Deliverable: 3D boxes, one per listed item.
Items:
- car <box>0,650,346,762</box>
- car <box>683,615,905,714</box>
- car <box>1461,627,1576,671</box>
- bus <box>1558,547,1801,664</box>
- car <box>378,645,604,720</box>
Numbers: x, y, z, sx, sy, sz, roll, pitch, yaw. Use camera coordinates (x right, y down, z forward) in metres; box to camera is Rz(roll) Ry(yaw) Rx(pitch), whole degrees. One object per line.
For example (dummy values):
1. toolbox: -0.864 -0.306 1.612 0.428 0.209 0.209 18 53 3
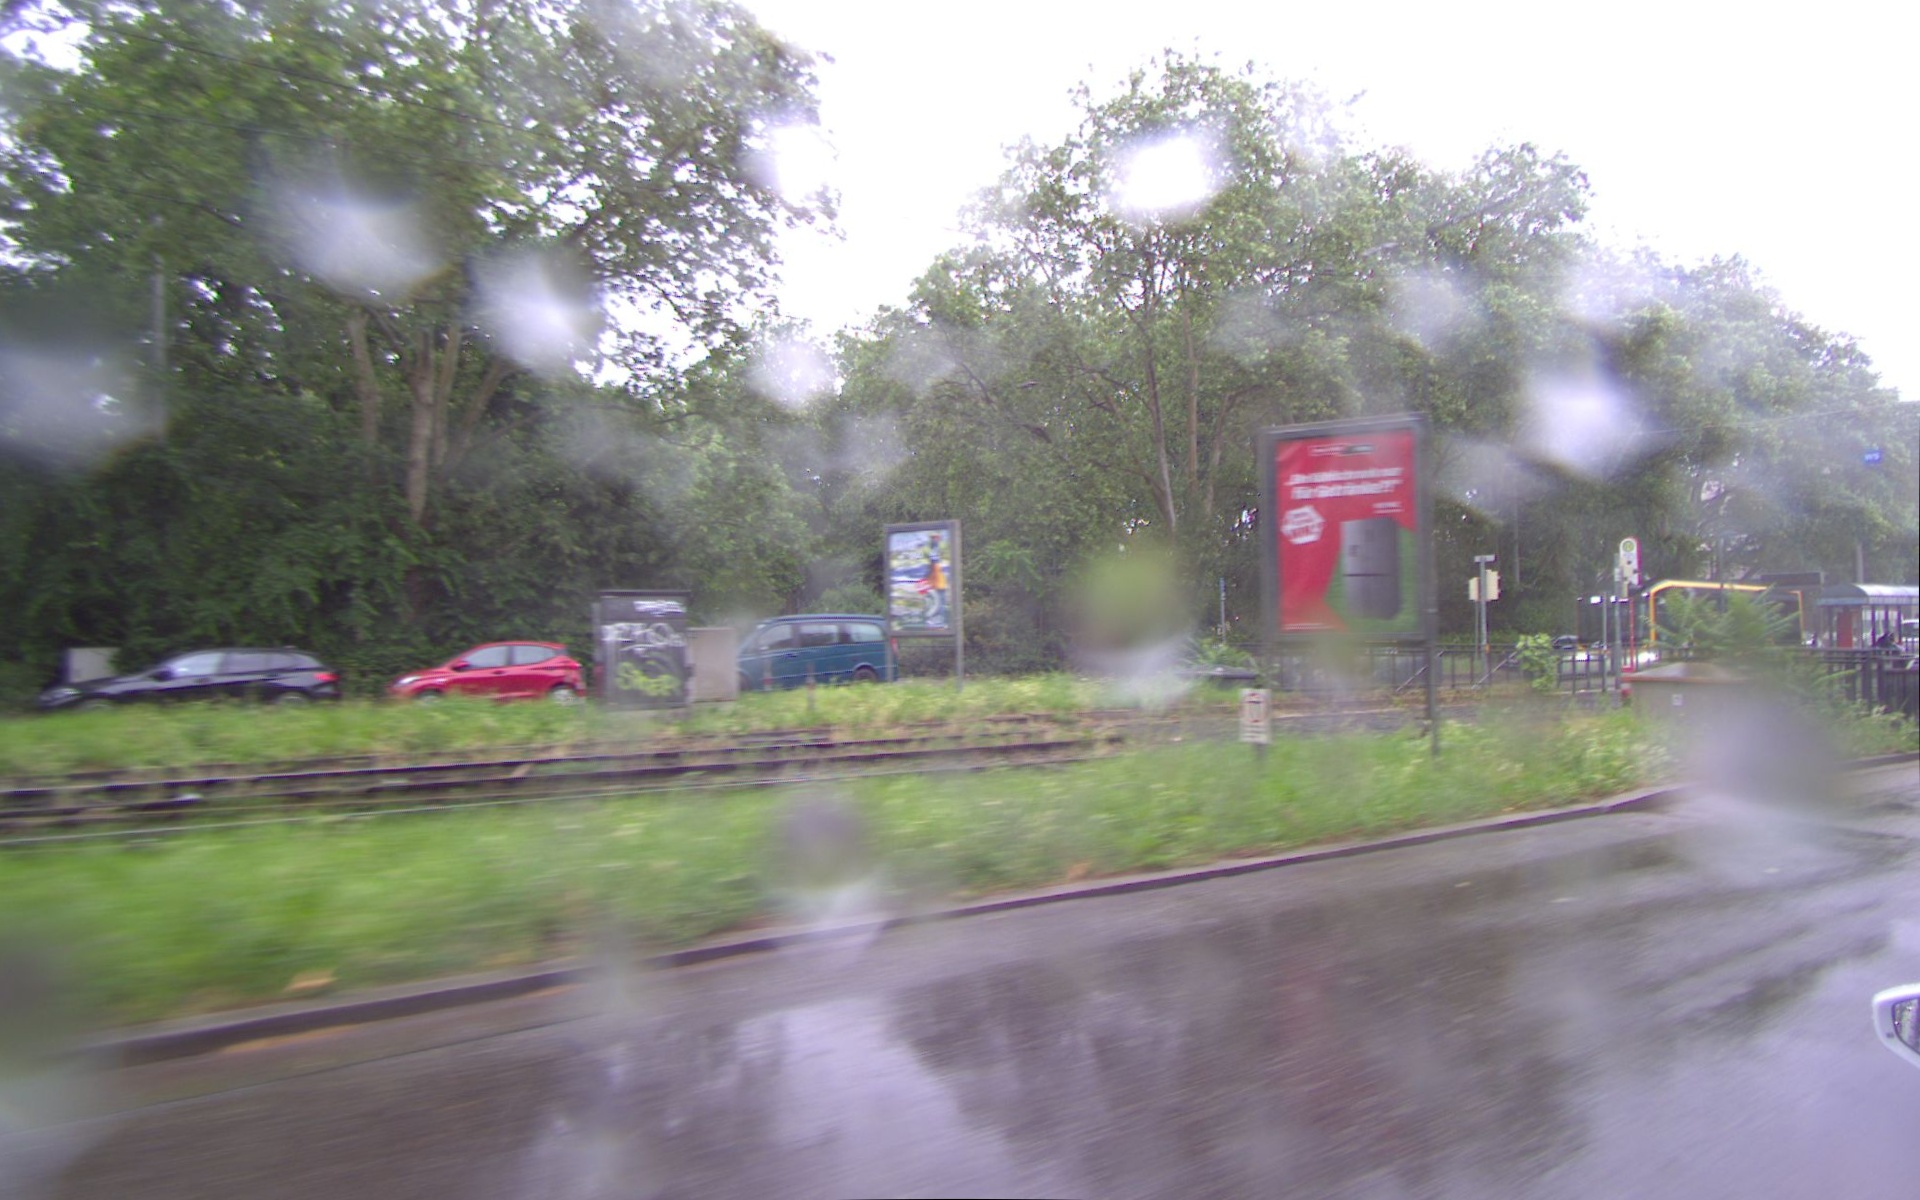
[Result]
1. car: -13.492 1.763 17.690 4.559 1.679 2.021 1 -4 -32
2. car: -3.841 1.468 23.557 4.754 2.120 2.020 1 -4 -34
3. car: 21.075 1.830 37.888 3.952 1.537 1.985 0 -3 -30
4. bus: 27.417 0.289 37.955 12.106 3.889 3.014 1 -1 -31
5. car: -9.427 1.625 20.285 3.945 1.334 1.726 1 -4 -34
